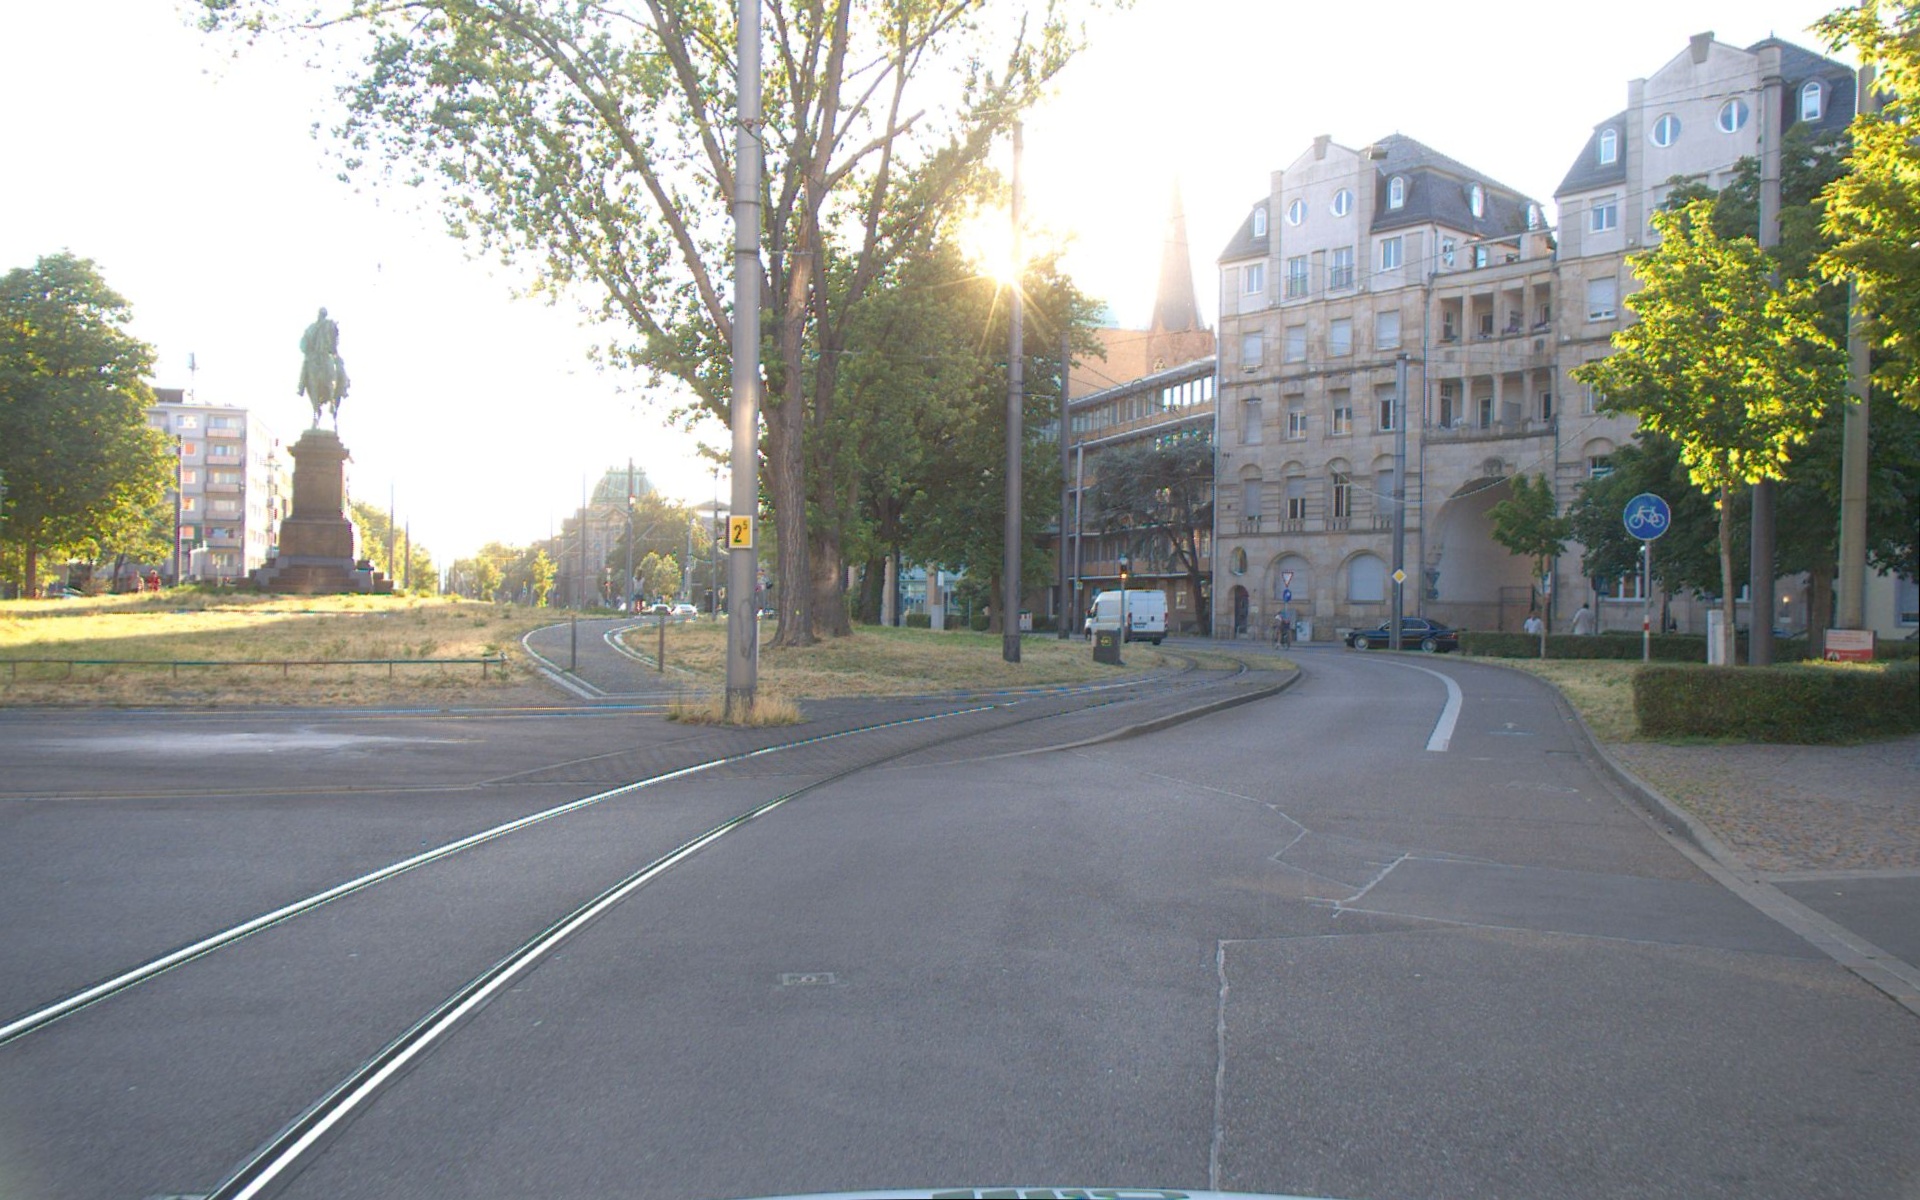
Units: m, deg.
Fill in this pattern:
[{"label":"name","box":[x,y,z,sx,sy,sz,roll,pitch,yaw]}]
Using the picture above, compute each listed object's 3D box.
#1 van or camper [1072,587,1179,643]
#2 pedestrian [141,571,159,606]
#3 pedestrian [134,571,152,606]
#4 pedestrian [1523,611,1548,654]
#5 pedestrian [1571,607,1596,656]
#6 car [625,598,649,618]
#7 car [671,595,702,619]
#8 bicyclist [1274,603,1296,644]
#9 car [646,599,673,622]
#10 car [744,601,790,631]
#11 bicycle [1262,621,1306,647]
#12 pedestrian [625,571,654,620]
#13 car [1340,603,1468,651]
[{"label":"van or camper","box":[7.626,0.651,77.088,2.569,2.516,6.284,0,0,-20]},{"label":"pedestrian","box":[-38.753,-0.544,79.139,0.759,1.634,0.633,0,0,-24]},{"label":"pedestrian","box":[-39.362,-0.554,79.688,0.759,1.634,0.633,0,0,-24]},{"label":"pedestrian","box":[20.825,1.185,59.865,0.681,1.537,0.585,1,0,-42]},{"label":"pedestrian","box":[19.979,0.997,53.028,0.621,1.537,0.686,1,0,31]},{"label":"car","box":[-33.816,0.829,173.084,2.105,2.049,3.981,1,0,-17]},{"label":"car","box":[-24.026,0.607,145.191,2.105,2.049,3.981,1,0,-17]},{"label":"bicyclist","box":[13.341,0.955,67.969,0.503,1.671,0.768,1,0,-28]},{"label":"car","box":[-28.713,0.986,157.985,2.105,2.049,3.981,1,0,-17]},{"label":"car","box":[-13.430,1.068,114.900,1.970,2.004,3.965,0,0,-27]},{"label":"bicycle","box":[13.304,1.389,68.039,0.503,0.995,2.222,1,0,-27]},{"label":"pedestrian","box":[-10.856,-0.145,56.018,0.624,1.634,0.770,1,0,30]},{"label":"car","box":[17.951,1.066,67.030,4.679,1.792,1.811,1,0,39]}]
